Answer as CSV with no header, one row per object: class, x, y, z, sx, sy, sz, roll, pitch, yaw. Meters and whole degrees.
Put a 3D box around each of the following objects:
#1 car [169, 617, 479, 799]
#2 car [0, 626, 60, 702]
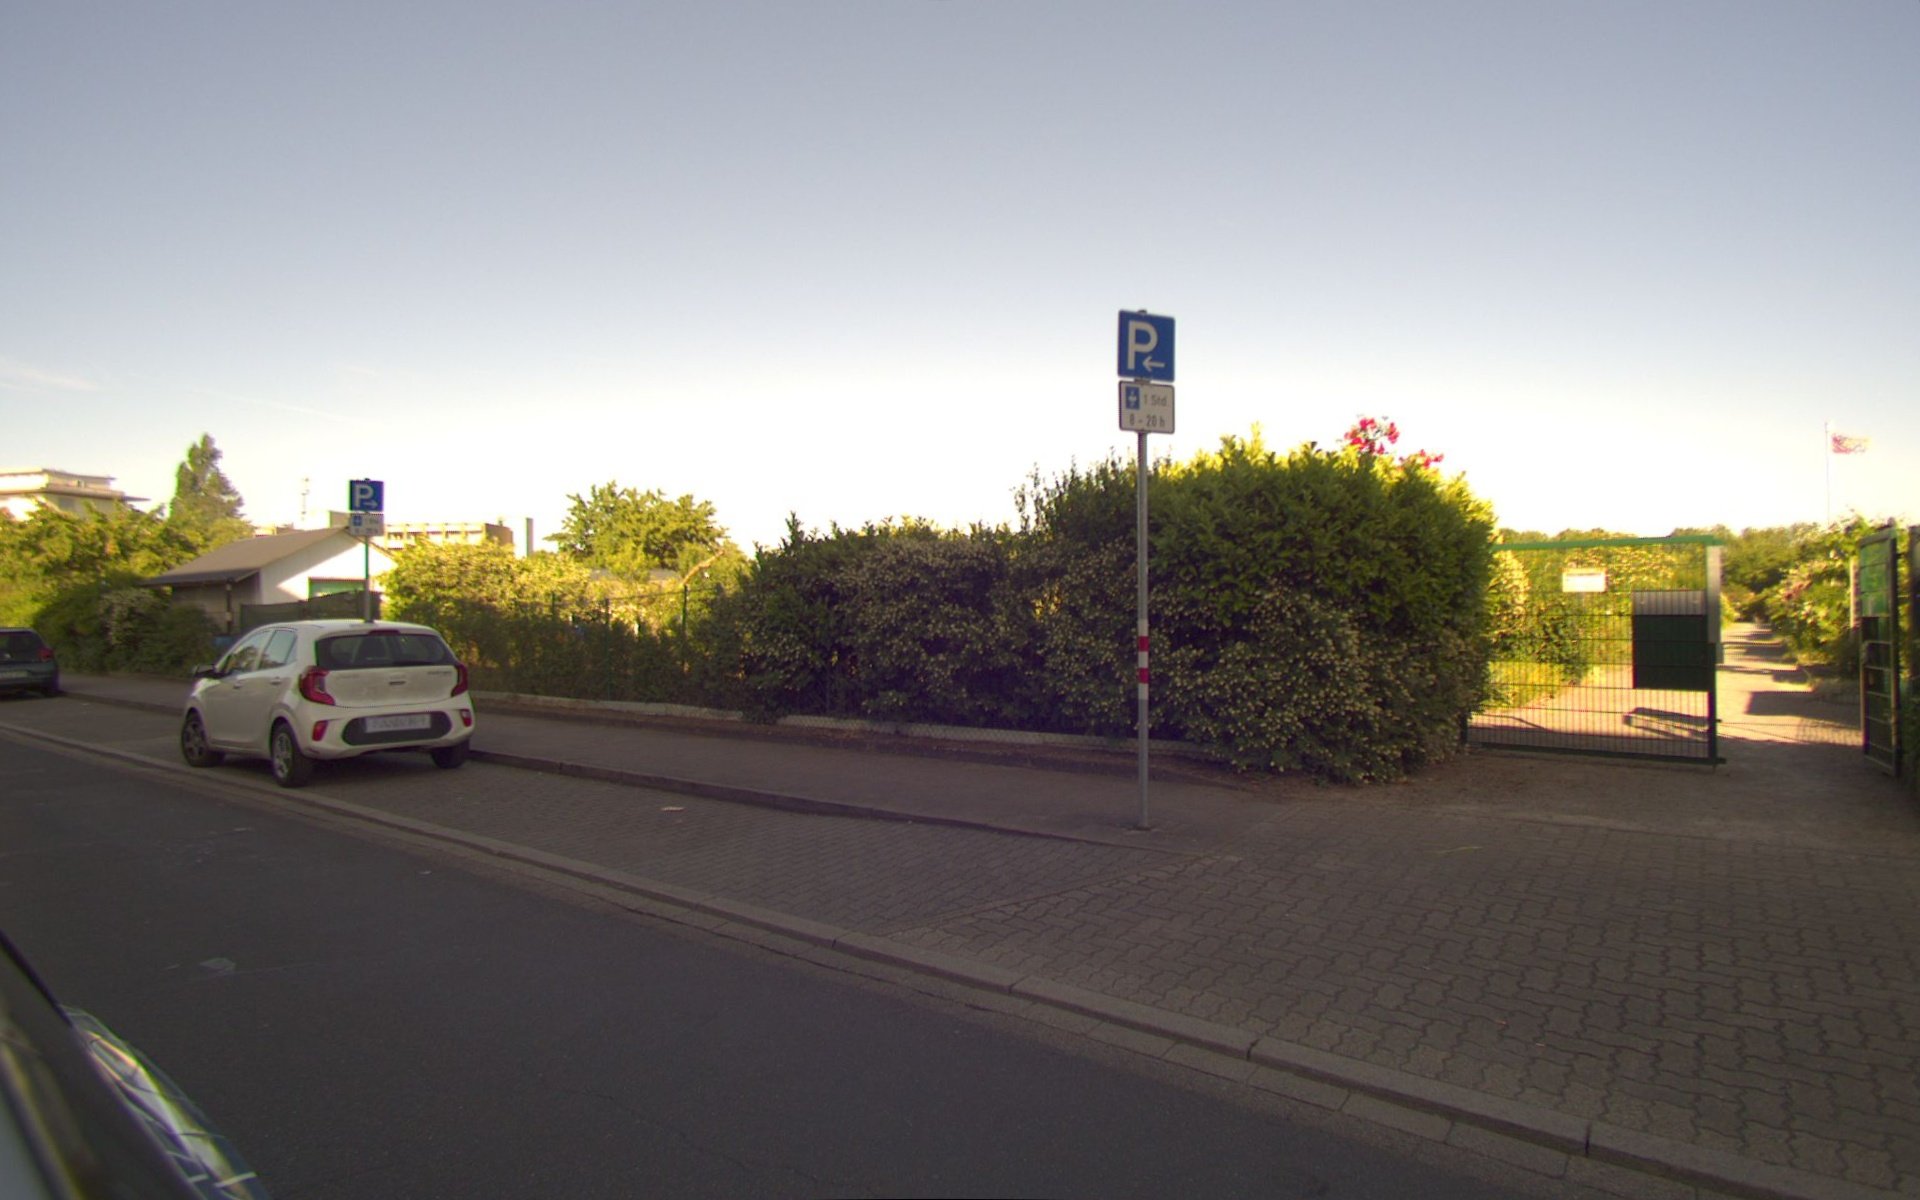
car,-6.409,0.947,10.102,3.396,1.499,1.513,-2,-1,37
car,-20.353,1.311,20.957,4.509,1.434,1.680,-2,1,37
